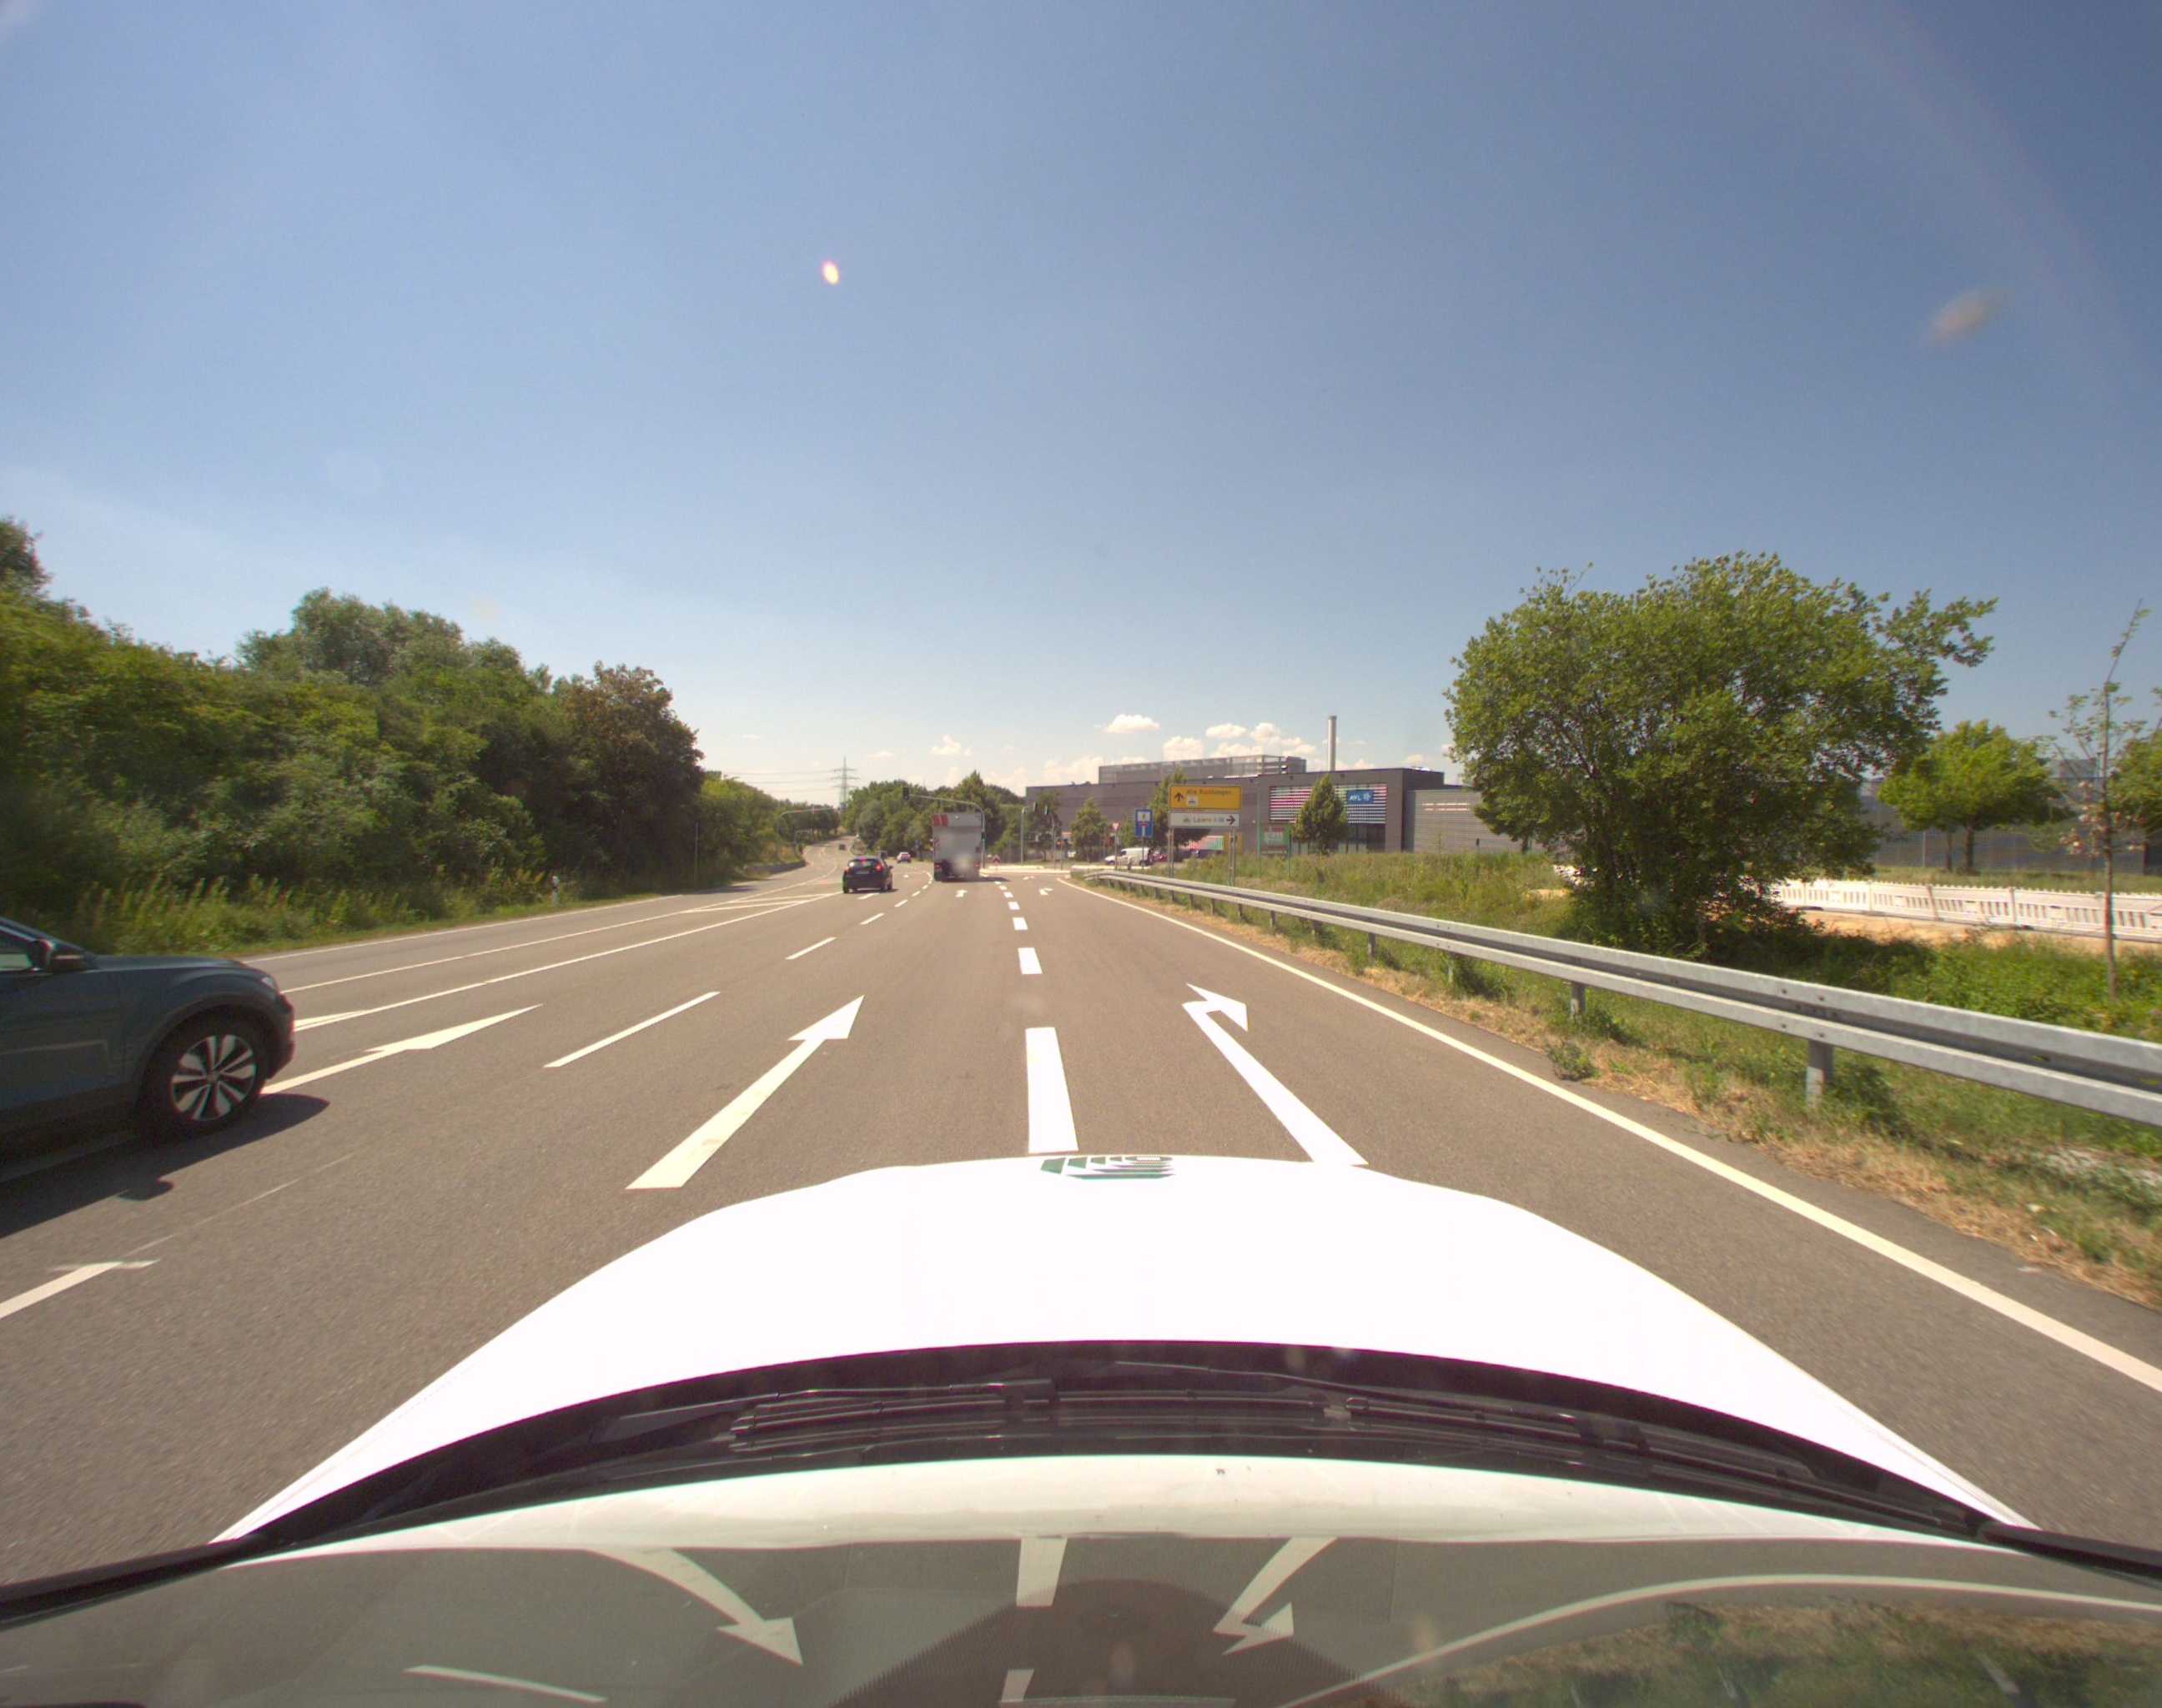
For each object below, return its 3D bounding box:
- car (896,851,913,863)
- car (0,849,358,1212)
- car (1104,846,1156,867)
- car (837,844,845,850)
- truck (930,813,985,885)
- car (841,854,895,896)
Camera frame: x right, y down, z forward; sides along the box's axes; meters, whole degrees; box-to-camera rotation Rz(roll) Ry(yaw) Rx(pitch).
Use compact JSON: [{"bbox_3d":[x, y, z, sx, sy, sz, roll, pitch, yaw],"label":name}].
[{"bbox_3d":[-25.715,0.409,118.565,1.948,1.664,3.977,2,0,-17],"label":"car"},{"bbox_3d":[-5.632,0.795,3.226,1.832,1.586,4.383,-1,0,-5],"label":"car"},{"bbox_3d":[4.780,0.255,79.980,4.710,1.932,2.162,-1,0,15],"label":"car"},{"bbox_3d":[-70.343,-1.968,238.880,1.995,1.684,3.983,-1,0,-13],"label":"car"},{"bbox_3d":[-7.106,-0.348,46.637,2.803,3.710,9.079,0,1,-9],"label":"truck"},{"bbox_3d":[-8.815,0.817,33.939,1.652,1.493,4.197,0,2,-8],"label":"car"}]
